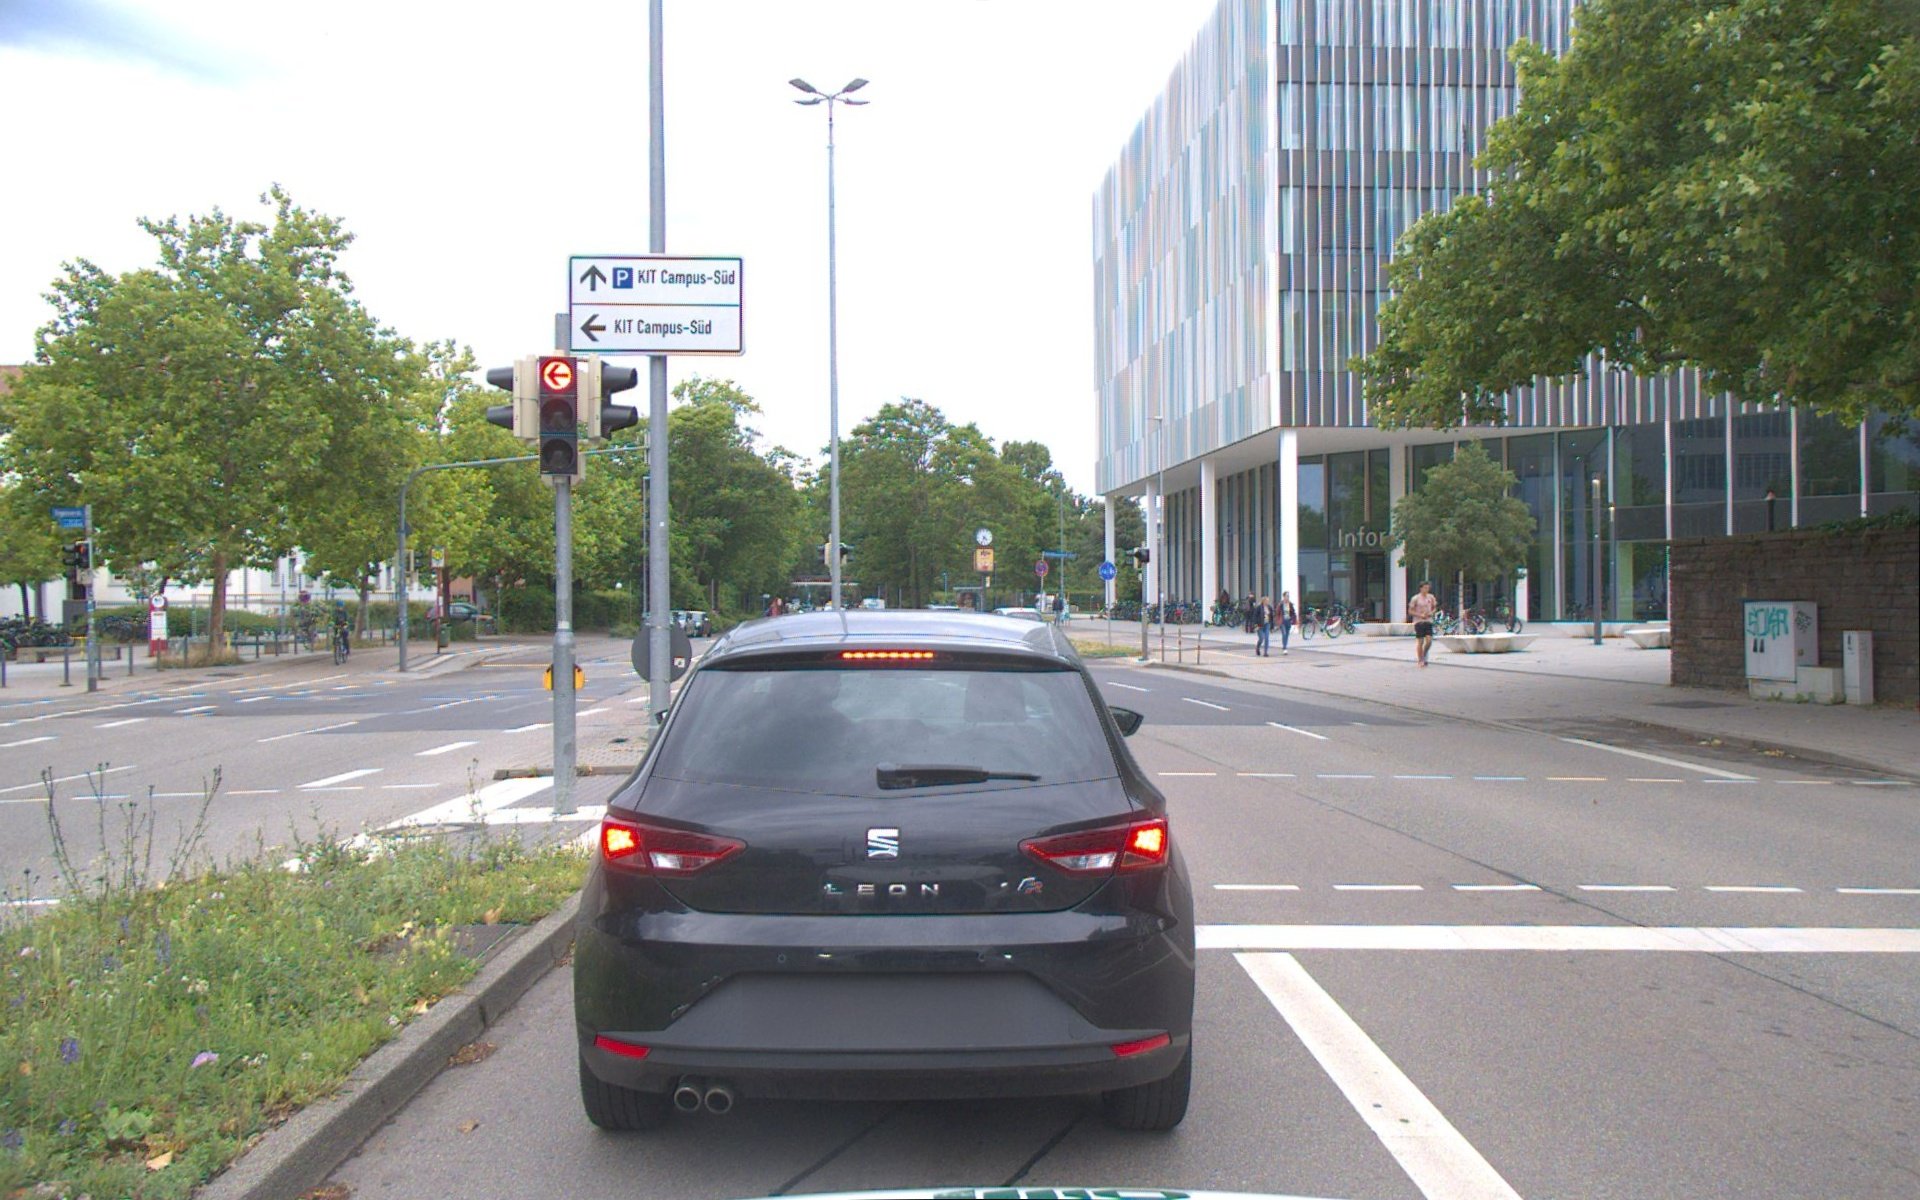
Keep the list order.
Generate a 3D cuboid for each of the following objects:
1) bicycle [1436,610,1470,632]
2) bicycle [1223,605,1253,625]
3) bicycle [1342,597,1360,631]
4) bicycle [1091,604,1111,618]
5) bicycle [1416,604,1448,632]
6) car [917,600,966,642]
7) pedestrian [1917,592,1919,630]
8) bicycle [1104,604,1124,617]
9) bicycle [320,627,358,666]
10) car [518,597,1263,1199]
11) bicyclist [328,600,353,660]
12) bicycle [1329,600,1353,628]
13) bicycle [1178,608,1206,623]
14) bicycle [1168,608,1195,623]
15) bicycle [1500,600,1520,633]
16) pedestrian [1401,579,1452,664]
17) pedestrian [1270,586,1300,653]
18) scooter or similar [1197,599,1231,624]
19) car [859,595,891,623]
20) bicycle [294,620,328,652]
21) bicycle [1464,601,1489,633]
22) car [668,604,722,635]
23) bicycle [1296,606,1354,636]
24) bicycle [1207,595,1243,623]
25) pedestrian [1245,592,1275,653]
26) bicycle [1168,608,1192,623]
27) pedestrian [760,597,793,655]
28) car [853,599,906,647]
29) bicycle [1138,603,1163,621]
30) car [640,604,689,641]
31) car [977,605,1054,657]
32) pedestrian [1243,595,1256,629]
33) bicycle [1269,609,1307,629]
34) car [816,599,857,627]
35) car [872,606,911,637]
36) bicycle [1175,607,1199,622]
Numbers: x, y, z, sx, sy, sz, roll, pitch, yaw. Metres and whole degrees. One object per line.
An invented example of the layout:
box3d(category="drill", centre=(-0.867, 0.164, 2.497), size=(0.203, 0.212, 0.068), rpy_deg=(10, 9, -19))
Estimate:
box3d(category="bicycle", centre=(18.148, 0.760, 60.869), size=(1.515, 0.728, 0.511), rpy_deg=(-3, 1, -44))
box3d(category="bicycle", centre=(12.832, 0.689, 76.209), size=(1.421, 0.872, 0.361), rpy_deg=(-2, 0, -28))
box3d(category="bicycle", centre=(15.283, 0.536, 64.614), size=(0.515, 1.275, 1.667), rpy_deg=(-2, 0, 17))
box3d(category="bicycle", centre=(9.317, 0.718, 109.014), size=(1.241, 0.863, 0.479), rpy_deg=(2, -1, -23))
box3d(category="bicycle", centre=(17.582, 0.668, 61.634), size=(0.682, 0.963, 1.981), rpy_deg=(-2, 1, 29))
box3d(category="car", centre=(-0.788, 0.851, 68.126), size=(1.869, 1.653, 4.489), rpy_deg=(1, 0, -2))
box3d(category="pedestrian", centre=(9.617, 0.696, 15.639), size=(0.646, 1.588, 0.636), rpy_deg=(-5, 0, -1))
box3d(category="bicycle", centre=(9.954, 0.673, 107.019), size=(1.218, 0.837, 0.479), rpy_deg=(2, -1, -23))
box3d(category="bicycle", centre=(-17.456, 1.302, 46.519), size=(0.478, 1.023, 1.589), rpy_deg=(1, 1, -1))
box3d(category="car", centre=(-0.114, 0.732, 5.725), size=(1.717, 1.457, 3.770), rpy_deg=(1, 0, 1))
box3d(category="bicyclist", centre=(-17.446, 0.845, 46.589), size=(0.481, 1.653, 0.588), rpy_deg=(1, 1, -1))
box3d(category="bicycle", centre=(15.534, 0.566, 67.411), size=(0.607, 1.064, 1.704), rpy_deg=(-2, 1, 25))
box3d(category="bicycle", centre=(11.828, 0.804, 84.361), size=(1.346, 0.717, 0.416), rpy_deg=(-2, 0, 2))
box3d(category="bicycle", centre=(11.542, 0.824, 86.153), size=(1.345, 0.717, 0.489), rpy_deg=(-2, 0, 8))
box3d(category="bicycle", centre=(19.612, 0.581, 58.965), size=(0.609, 1.074, 1.950), rpy_deg=(-2, 1, 19))
box3d(category="pedestrian", centre=(10.136, 0.467, 35.985), size=(0.830, 1.795, 0.767), rpy_deg=(-2, 0, -1))
box3d(category="pedestrian", centre=(8.904, 0.532, 45.318), size=(0.673, 1.812, 0.677), rpy_deg=(0, 0, -1))
box3d(category="scooter or similar", centre=(12.065, 0.553, 78.482), size=(1.655, 1.126, 0.493), rpy_deg=(-2, 0, -33))
box3d(category="car", centre=(-6.451, 0.673, 124.950), size=(1.930, 2.007, 4.333), rpy_deg=(1, 0, -10))
box3d(category="bicycle", centre=(-23.211, 1.283, 59.176), size=(0.596, 1.079, 2.041), rpy_deg=(-2, 0, -7))
box3d(category="bicycle", centre=(18.706, 0.615, 59.876), size=(0.792, 1.074, 1.950), rpy_deg=(-2, 1, 19))
box3d(category="car", centre=(-15.362, 1.115, 96.027), size=(1.721, 1.615, 4.004), rpy_deg=(-2, 1, 12))
box3d(category="bicycle", centre=(12.434, 0.705, 56.380), size=(1.860, 0.914, 0.693), rpy_deg=(-2, 0, -22))
box3d(category="bicycle", centre=(12.474, 0.424, 77.911), size=(1.758, 1.232, 0.563), rpy_deg=(-2, 0, -35))
box3d(category="pedestrian", centre=(8.211, 0.610, 45.268), size=(0.673, 1.668, 0.632), rpy_deg=(1, 0, -1))
box3d(category="bicycle", centre=(11.577, 0.806, 87.046), size=(1.213, 0.717, 0.489), rpy_deg=(-2, 0, 8))
box3d(category="pedestrian", centre=(-5.185, 0.726, 46.706), size=(0.858, 1.614, 0.542), rpy_deg=(-2, 0, -8))
box3d(category="car", centre=(-2.973, 0.844, 61.650), size=(1.845, 1.628, 4.445), rpy_deg=(3, 0, -2))
box3d(category="bicycle", centre=(10.608, 0.675, 92.004), size=(1.357, 0.958, 0.488), rpy_deg=(-1, 0, 6))
box3d(category="car", centre=(-15.342, 1.145, 86.054), size=(1.868, 1.747, 3.999), rpy_deg=(-2, 0, -1))
box3d(category="car", centre=(1.634, 0.917, 50.040), size=(1.636, 1.492, 3.651), rpy_deg=(0, 0, -10))
box3d(category="pedestrian", centre=(12.050, 0.507, 68.892), size=(0.462, 1.385, 0.446), rpy_deg=(-2, 0, 9))
box3d(category="bicycle", centre=(13.845, 0.799, 69.883), size=(1.450, 0.761, 0.565), rpy_deg=(-2, 0, -4))
box3d(category="car", centre=(-6.585, 0.672, 87.768), size=(1.749, 1.488, 3.860), rpy_deg=(0, 0, -11))
box3d(category="car", centre=(-3.656, 1.164, 89.049), size=(1.787, 1.578, 4.527), rpy_deg=(1, -1, 1))
box3d(category="bicycle", centre=(12.040, 0.771, 87.734), size=(1.246, 0.717, 0.485), rpy_deg=(-2, 0, 6))
